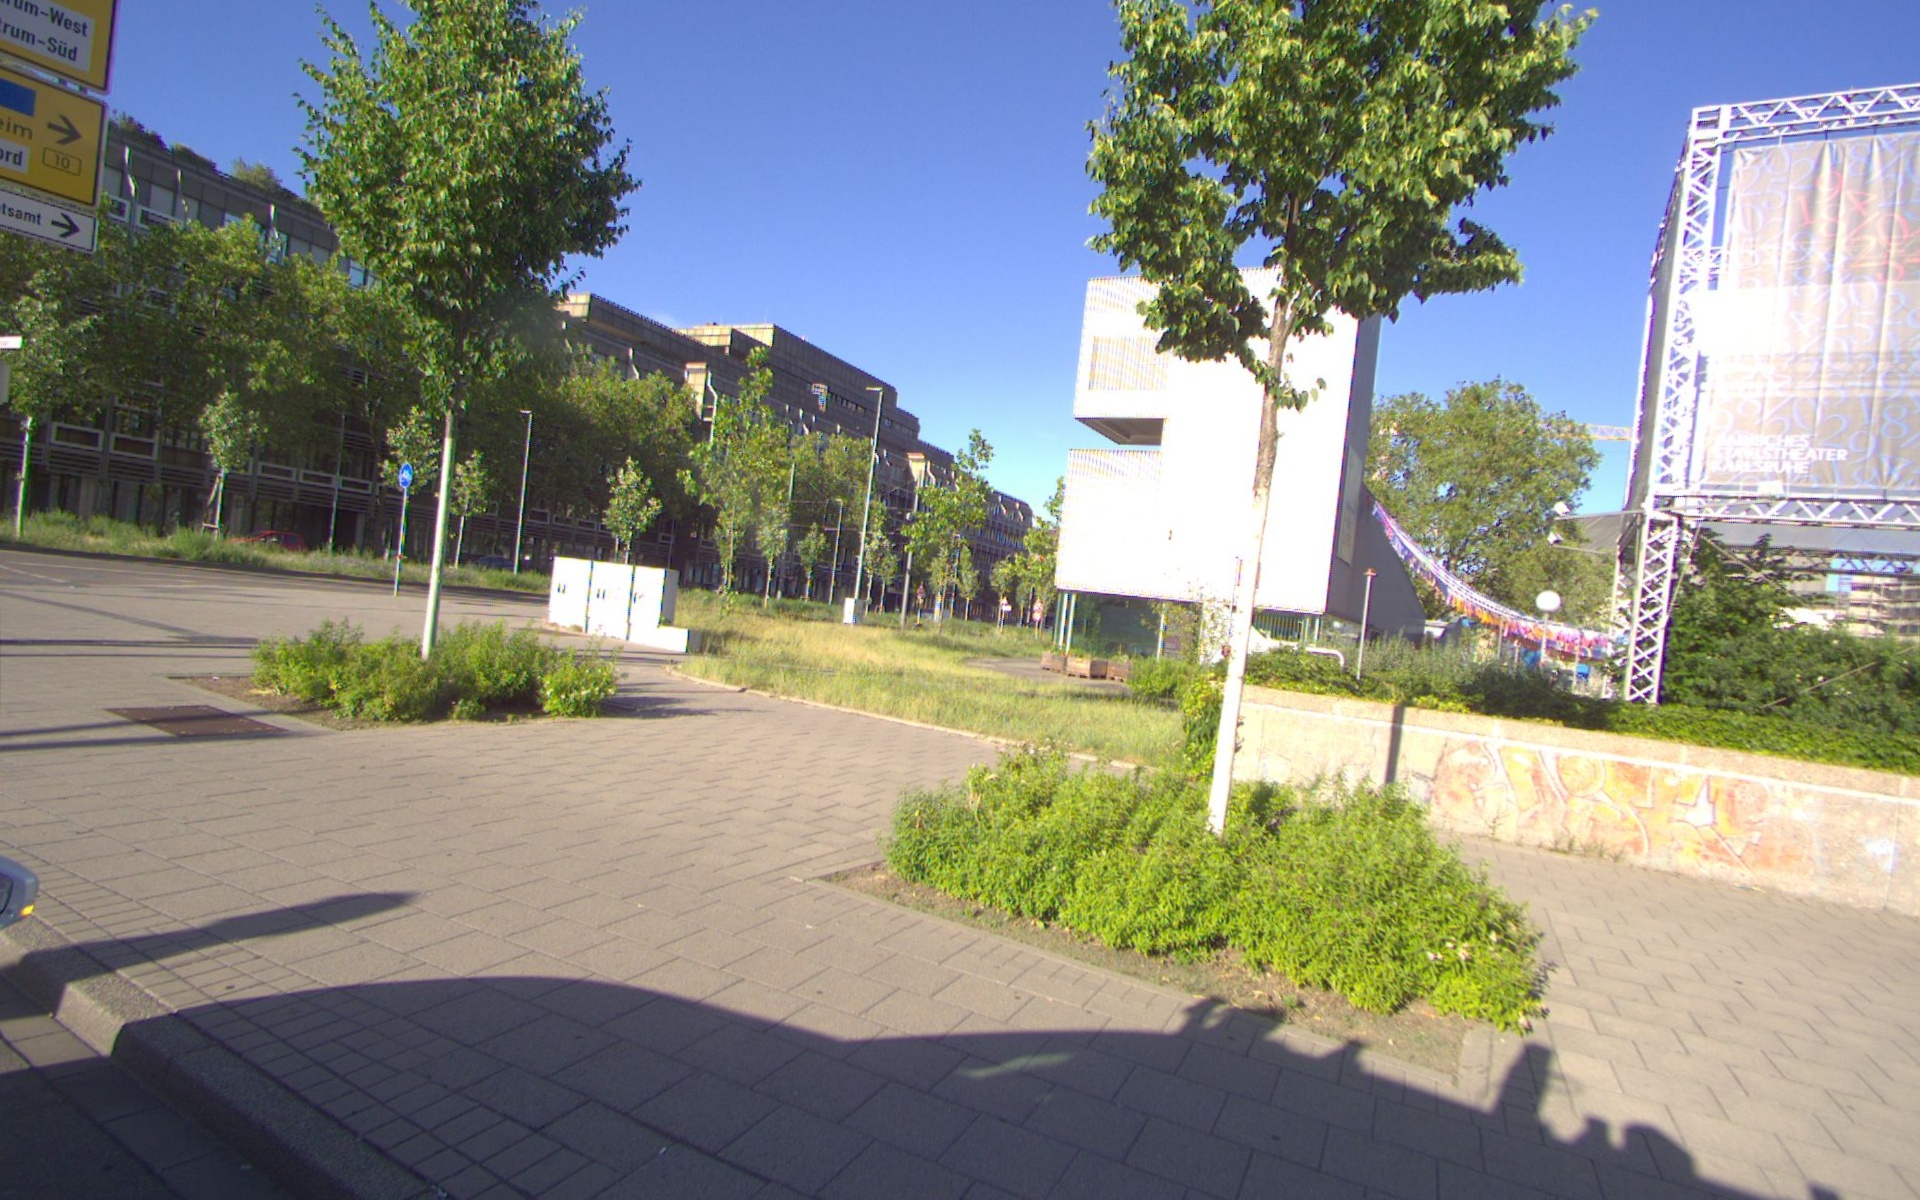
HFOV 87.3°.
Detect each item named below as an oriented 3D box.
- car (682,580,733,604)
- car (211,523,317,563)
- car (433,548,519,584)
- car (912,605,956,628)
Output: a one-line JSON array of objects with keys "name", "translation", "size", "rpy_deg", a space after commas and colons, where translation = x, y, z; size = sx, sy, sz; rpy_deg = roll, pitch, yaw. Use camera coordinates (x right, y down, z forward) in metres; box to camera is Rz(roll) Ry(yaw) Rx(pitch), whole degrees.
[{"name": "car", "translation": [-21.842, -0.694, 87.103], "size": [1.834, 1.615, 4.274], "rpy_deg": [6, -2, 26]}, {"name": "car", "translation": [-34.493, -2.793, 49.947], "size": [1.814, 1.504, 3.876], "rpy_deg": [3, -2, 26]}, {"name": "car", "translation": [-31.775, -2.222, 66.162], "size": [1.964, 1.700, 4.868], "rpy_deg": [8, -1, 23]}, {"name": "car", "translation": [-2.779, 1.830, 108.961], "size": [2.226, 2.038, 5.705], "rpy_deg": [4, -2, 25]}]
